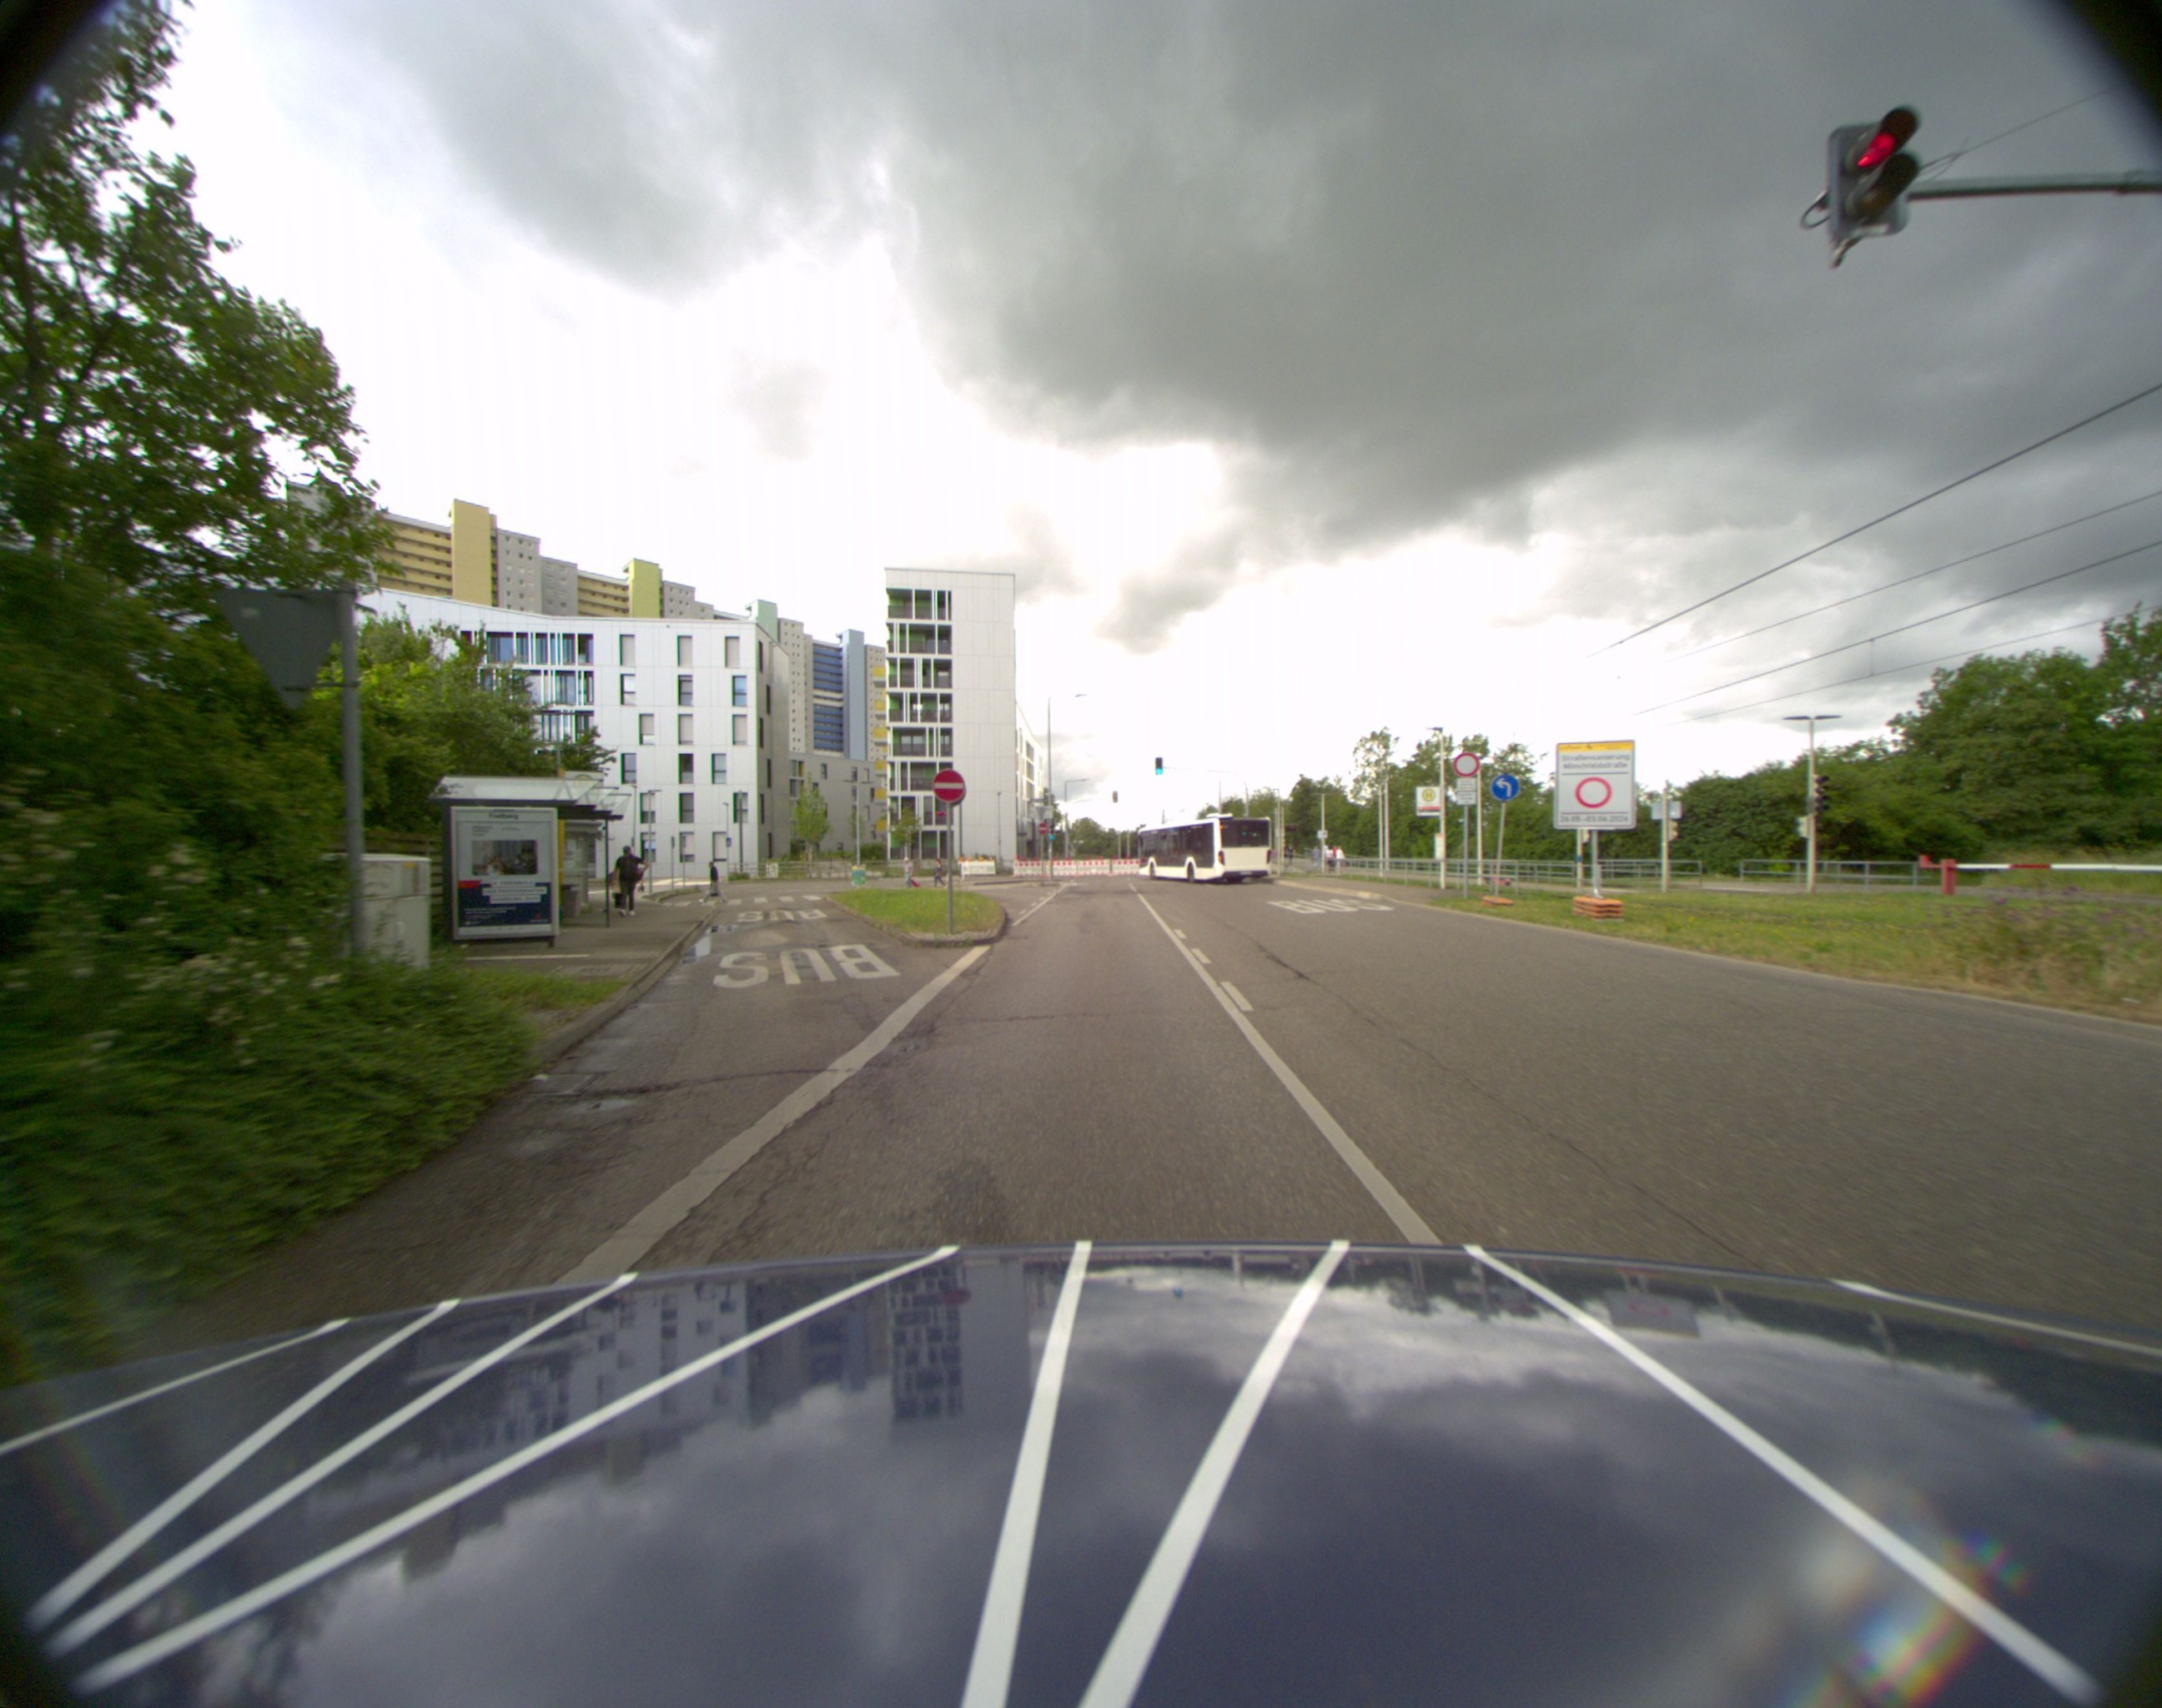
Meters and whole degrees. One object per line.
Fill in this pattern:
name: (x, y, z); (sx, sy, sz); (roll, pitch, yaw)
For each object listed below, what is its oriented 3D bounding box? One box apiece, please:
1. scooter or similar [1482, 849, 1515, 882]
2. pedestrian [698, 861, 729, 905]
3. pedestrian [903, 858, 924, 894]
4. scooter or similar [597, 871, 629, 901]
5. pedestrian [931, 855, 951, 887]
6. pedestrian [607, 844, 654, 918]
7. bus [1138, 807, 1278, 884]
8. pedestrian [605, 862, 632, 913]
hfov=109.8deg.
scooter or similar: (16.106, 0.441, 29.349); (0.412, 1.264, 1.268); (-1, 0, -10)
pedestrian: (-15.216, 1.172, 31.479); (1.063, 1.737, 0.955); (-1, 1, -23)
pedestrian: (-8.086, 1.047, 36.611); (0.721, 1.625, 0.700); (2, 3, 19)
scooter or similar: (-20.876, 1.431, 33.901); (1.491, 1.267, 0.623); (1, 2, 33)
pedestrian: (-6.880, 0.829, 37.457); (0.731, 1.558, 0.693); (-1, 1, 12)
pedestrian: (-11.421, 0.684, 19.252); (0.859, 1.811, 0.982); (-2, -1, -38)
bus: (5.835, -0.401, 37.941); (2.676, 3.184, 12.185); (-1, 1, -12)
pedestrian: (-15.086, 1.076, 24.798); (0.688, 1.585, 0.769); (-1, 1, -30)
